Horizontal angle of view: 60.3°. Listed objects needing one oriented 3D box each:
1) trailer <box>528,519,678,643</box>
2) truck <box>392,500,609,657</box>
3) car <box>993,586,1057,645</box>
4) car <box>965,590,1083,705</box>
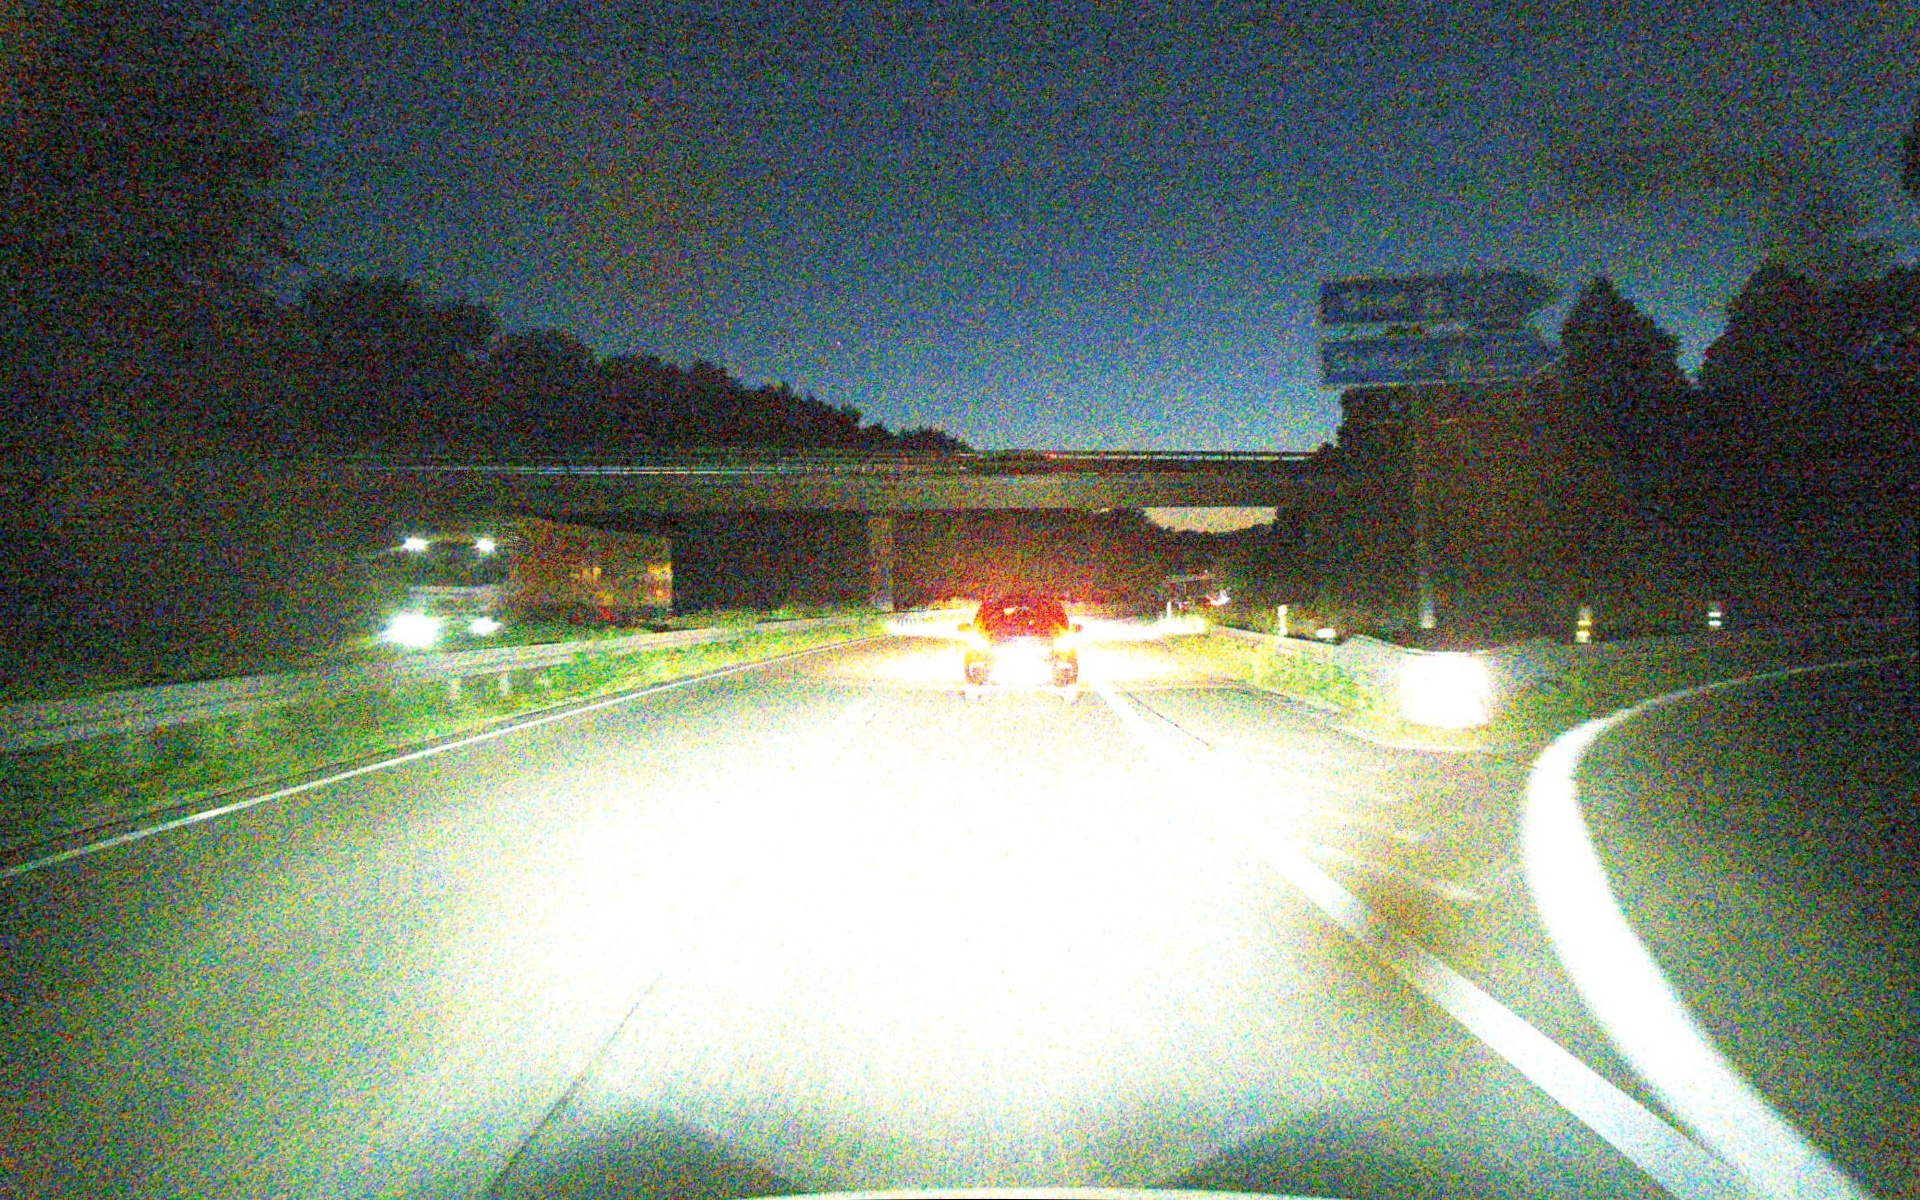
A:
[{"bbox_3d":[-12.542,-0.653,59.022,2.660,4.025,9.052,-1,0,5],"label":"trailer"},{"bbox_3d":[-13.338,-0.603,49.253,2.624,4.115,10.660,-1,0,5],"label":"truck"},{"bbox_3d":[2.021,0.434,51.230,1.867,1.728,4.001,-1,0,2],"label":"car"},{"bbox_3d":[0.874,0.638,24.364,1.556,1.534,4.000,1,0,0],"label":"car"}]
